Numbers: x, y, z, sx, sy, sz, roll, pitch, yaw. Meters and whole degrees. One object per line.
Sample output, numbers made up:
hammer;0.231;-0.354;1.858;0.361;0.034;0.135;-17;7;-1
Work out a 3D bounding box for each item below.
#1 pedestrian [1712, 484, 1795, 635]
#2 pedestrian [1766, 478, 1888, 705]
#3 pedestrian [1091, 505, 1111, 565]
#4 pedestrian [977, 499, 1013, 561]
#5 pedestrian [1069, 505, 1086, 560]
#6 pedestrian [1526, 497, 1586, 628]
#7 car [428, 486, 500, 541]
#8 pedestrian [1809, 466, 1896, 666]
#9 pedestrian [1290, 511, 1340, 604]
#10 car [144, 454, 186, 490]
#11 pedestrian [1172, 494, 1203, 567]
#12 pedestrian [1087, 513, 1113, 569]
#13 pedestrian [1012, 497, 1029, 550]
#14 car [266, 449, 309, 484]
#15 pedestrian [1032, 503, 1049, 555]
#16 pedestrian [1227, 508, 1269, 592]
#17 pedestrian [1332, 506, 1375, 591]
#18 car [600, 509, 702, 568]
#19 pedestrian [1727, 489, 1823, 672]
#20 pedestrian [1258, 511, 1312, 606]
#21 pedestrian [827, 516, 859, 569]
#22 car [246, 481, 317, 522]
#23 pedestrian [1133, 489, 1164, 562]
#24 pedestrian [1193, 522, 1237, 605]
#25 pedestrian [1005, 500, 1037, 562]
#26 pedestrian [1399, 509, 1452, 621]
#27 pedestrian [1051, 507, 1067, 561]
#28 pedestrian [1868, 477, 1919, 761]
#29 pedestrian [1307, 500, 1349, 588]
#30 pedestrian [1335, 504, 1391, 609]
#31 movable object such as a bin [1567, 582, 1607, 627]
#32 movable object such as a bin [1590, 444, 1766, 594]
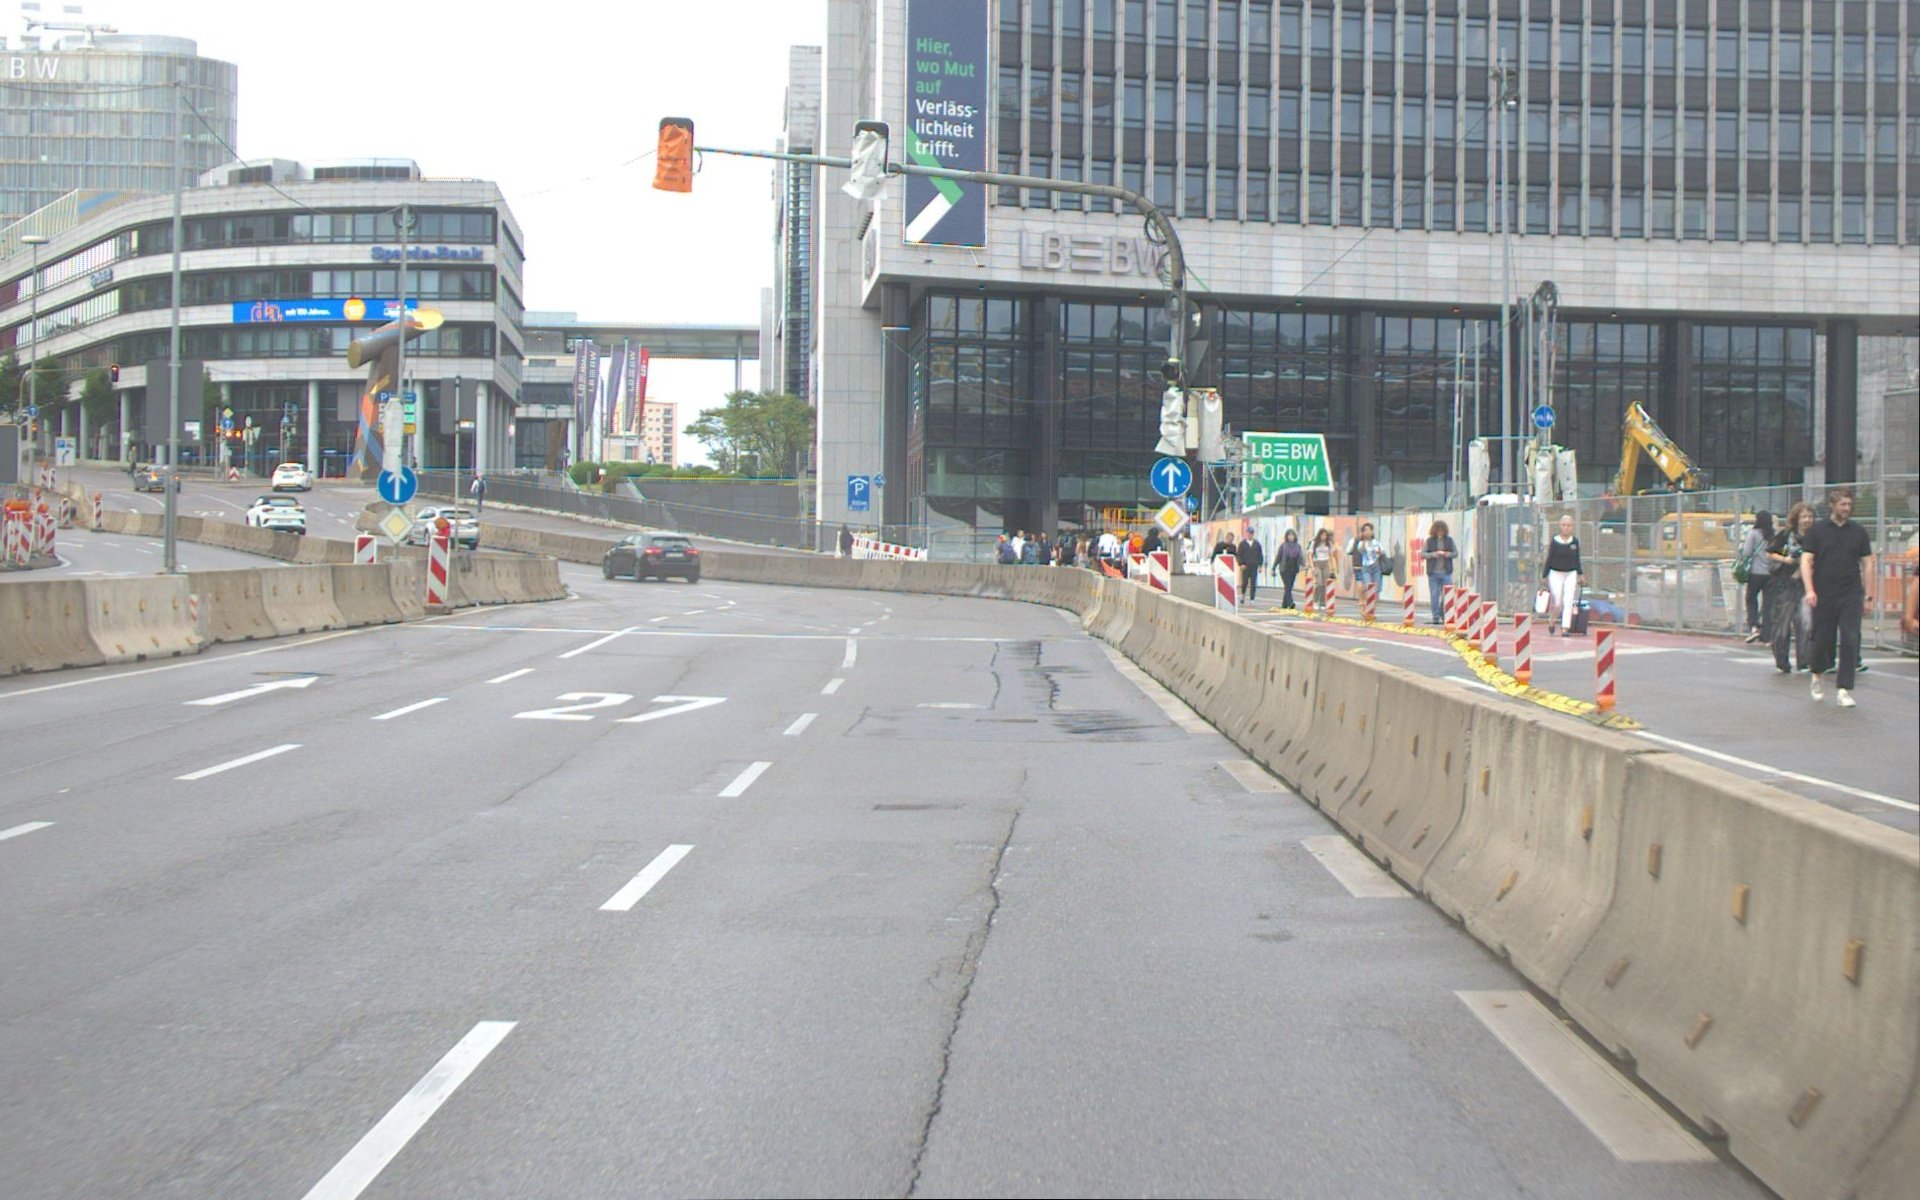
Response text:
pedestrian;9.840;-0.508;42.632;0.786;1.855;0.683;1;1;-4
pedestrian;7.300;-0.077;28.978;0.796;1.871;0.820;1;1;1
pedestrian;4.269;-1.980;104.350;0.529;1.812;0.536;1;2;-1
pedestrian;0.940;-1.870;92.195;0.750;1.636;0.824;1;2;-13
pedestrian;3.682;-2.109;107.618;0.448;1.699;0.646;1;2;8
pedestrian;8.542;-0.538;49.309;0.664;1.855;0.683;1;1;-4
car;-17.342;-3.016;120.050;1.738;1.869;3.779;0;2;-20
pedestrian;9.087;-0.352;35.025;0.679;2.006;0.686;1;2;1
pedestrian;7.207;-0.875;69.815;0.779;1.855;1.058;1;1;-4
car;-41.524;-6.707;179.607;1.993;1.798;4.267;1;2;-15
pedestrian;6.345;-1.936;95.792;0.784;2.006;0.863;1;2;6
pedestrian;4.314;-1.815;106.078;0.511;1.699;0.574;0;2;-38
pedestrian;2.005;-2.521;113.227;0.448;1.699;0.647;1;2;-6
car;-35.956;-7.154;183.769;1.993;1.798;4.267;1;2;-15
pedestrian;2.659;-2.344;113.374;0.453;1.699;0.647;1;2;-6
pedestrian;6.453;-1.130;76.982;0.779;1.855;0.812;1;1;-4
pedestrian;8.642;-1.132;75.507;0.779;1.855;0.812;0;2;-4
car;-8.679;-1.703;96.430;1.674;1.503;3.746;1;-1;-25
pedestrian;8.263;-0.202;34.870;0.796;1.827;0.626;1;1;1
pedestrian;6.436;-0.833;68.144;0.869;1.855;0.949;1;1;-4
pedestrian;-4.015;-1.982;118.305;0.756;1.784;1.057;1;1;-22
car;-25.968;-3.773;131.454;1.741;1.501;3.755;1;1;-26
pedestrian;5.261;-2.071;95.882;0.784;2.006;0.863;1;2;6
pedestrian;5.630;-0.815;75.900;0.819;1.821;1.111;0;1;-3
pedestrian;1.632;-1.864;92.344;0.658;1.636;0.824;1;2;-13
pedestrian;7.835;-0.591;57.831;0.689;1.855;0.812;1;1;-4
pedestrian;3.106;-2.076;108.270;0.448;1.699;0.647;1;2;0
pedestrian;6.507;0.121;22.496;0.925;1.827;0.686;1;1;1
pedestrian;7.817;-1.190;72.989;0.732;1.848;0.831;1;1;-2
pedestrian;7.212;-0.787;61.575;0.779;1.855;0.949;1;1;-4
movable object such as a bin;9.046;0.066;49.634;0.433;0.622;0.535;1;1;-4
movable object such as a bin;19.780;-2.230;94.858;3.086;4.016;3.698;1;1;-24
